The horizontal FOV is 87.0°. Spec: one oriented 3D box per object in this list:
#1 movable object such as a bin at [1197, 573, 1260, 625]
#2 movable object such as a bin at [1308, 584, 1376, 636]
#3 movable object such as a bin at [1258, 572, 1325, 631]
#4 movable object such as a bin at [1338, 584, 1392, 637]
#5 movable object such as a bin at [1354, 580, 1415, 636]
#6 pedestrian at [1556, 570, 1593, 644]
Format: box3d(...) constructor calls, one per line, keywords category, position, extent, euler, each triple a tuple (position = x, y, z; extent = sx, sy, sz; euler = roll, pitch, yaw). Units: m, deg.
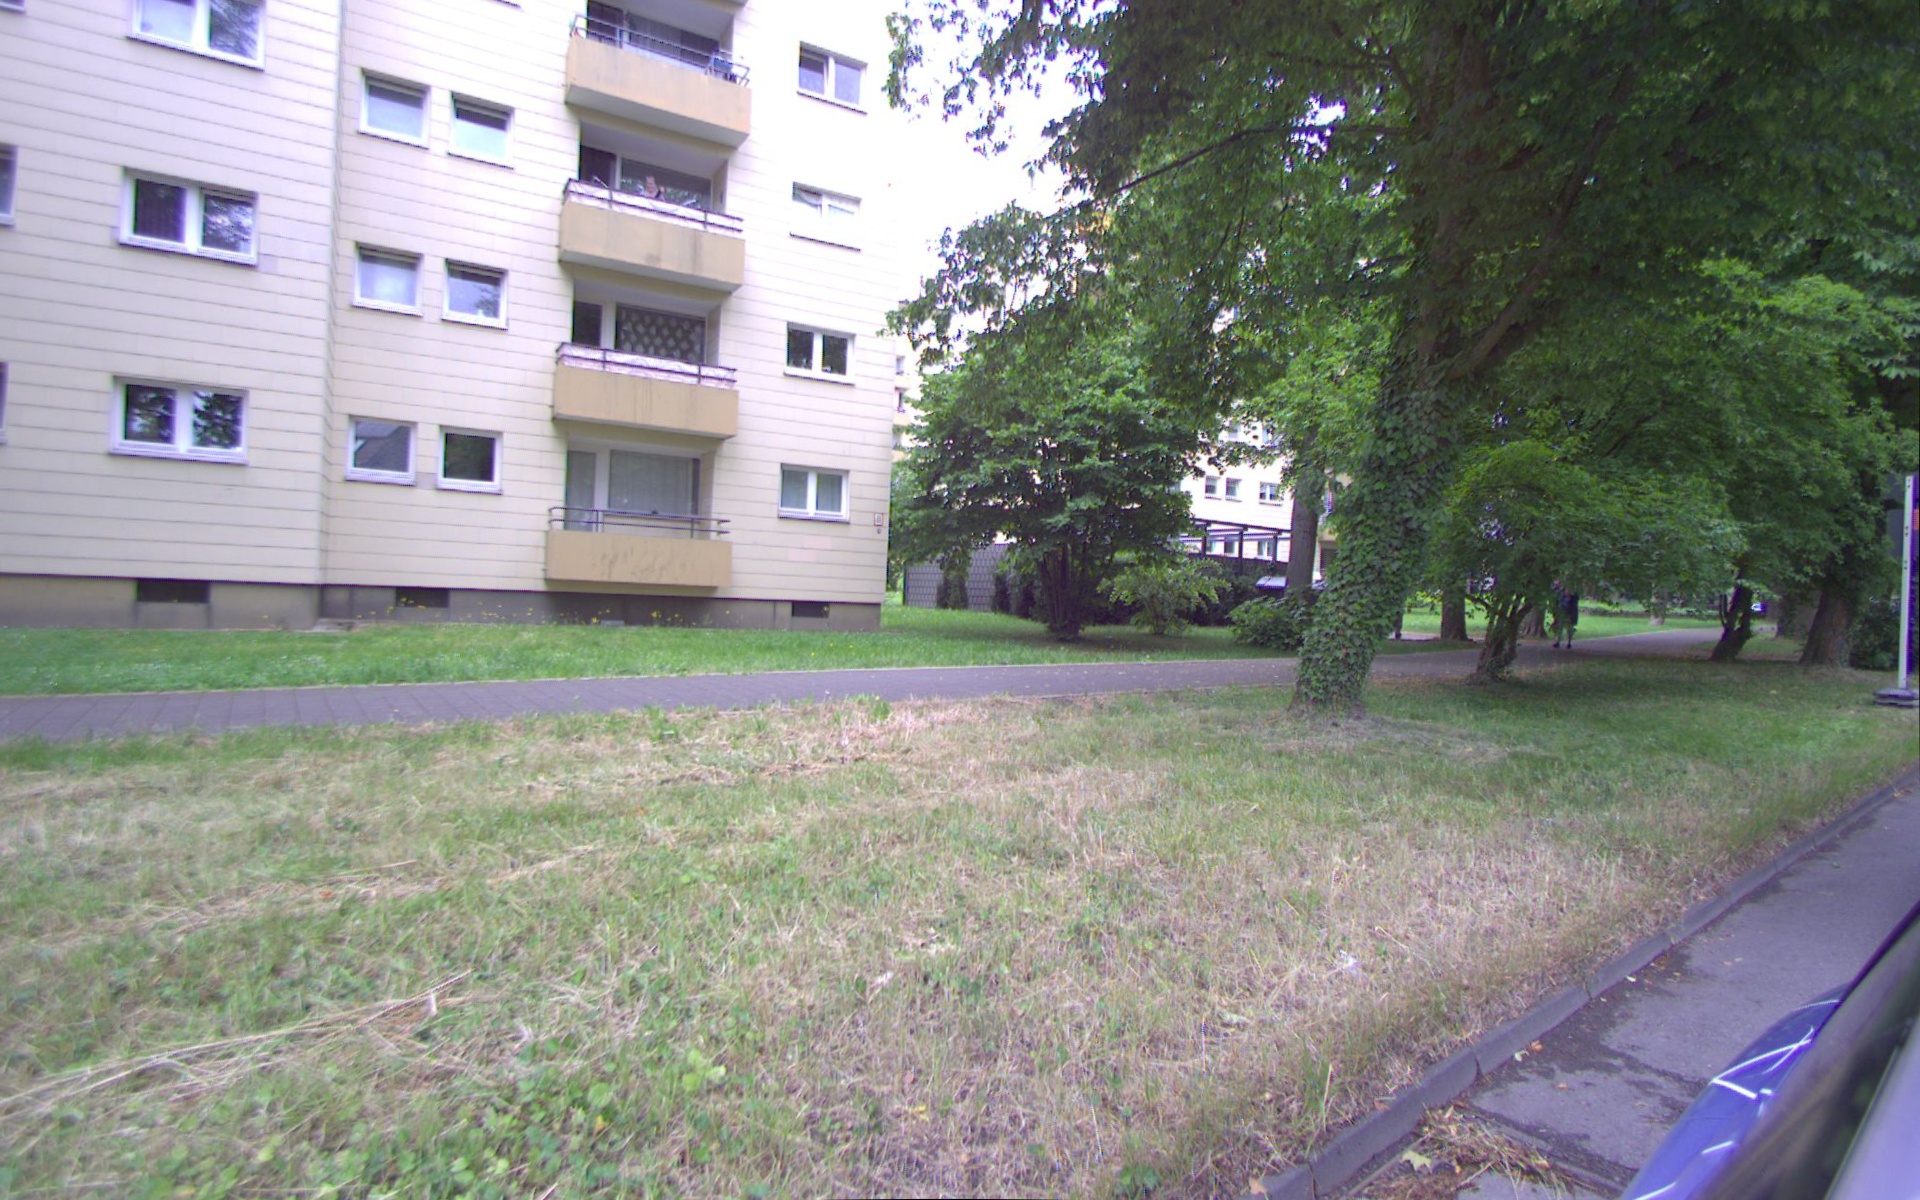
box3d(category="movable object such as a bin", position=(7.407, -0.032, 27.920), extent=(1.190, 1.358, 1.329), euler=(3, 2, 41))
box3d(category="movable object such as a bin", position=(9.659, 0.243, 25.577), extent=(1.190, 1.236, 1.329), euler=(3, 2, 41))
box3d(category="movable object such as a bin", position=(8.669, 0.027, 26.448), extent=(1.190, 1.475, 1.328), euler=(3, 2, 41))
box3d(category="movable object such as a bin", position=(10.546, 0.265, 26.351), extent=(1.022, 1.320, 0.946), euler=(3, 2, 41))
box3d(category="movable object such as a bin", position=(11.347, 0.205, 27.069), extent=(1.190, 1.431, 1.094), euler=(3, 2, 41))
box3d(category="pedestrian", position=(15.103, 0.164, 24.878), extent=(0.560, 1.761, 0.565), euler=(1, 2, -41))
